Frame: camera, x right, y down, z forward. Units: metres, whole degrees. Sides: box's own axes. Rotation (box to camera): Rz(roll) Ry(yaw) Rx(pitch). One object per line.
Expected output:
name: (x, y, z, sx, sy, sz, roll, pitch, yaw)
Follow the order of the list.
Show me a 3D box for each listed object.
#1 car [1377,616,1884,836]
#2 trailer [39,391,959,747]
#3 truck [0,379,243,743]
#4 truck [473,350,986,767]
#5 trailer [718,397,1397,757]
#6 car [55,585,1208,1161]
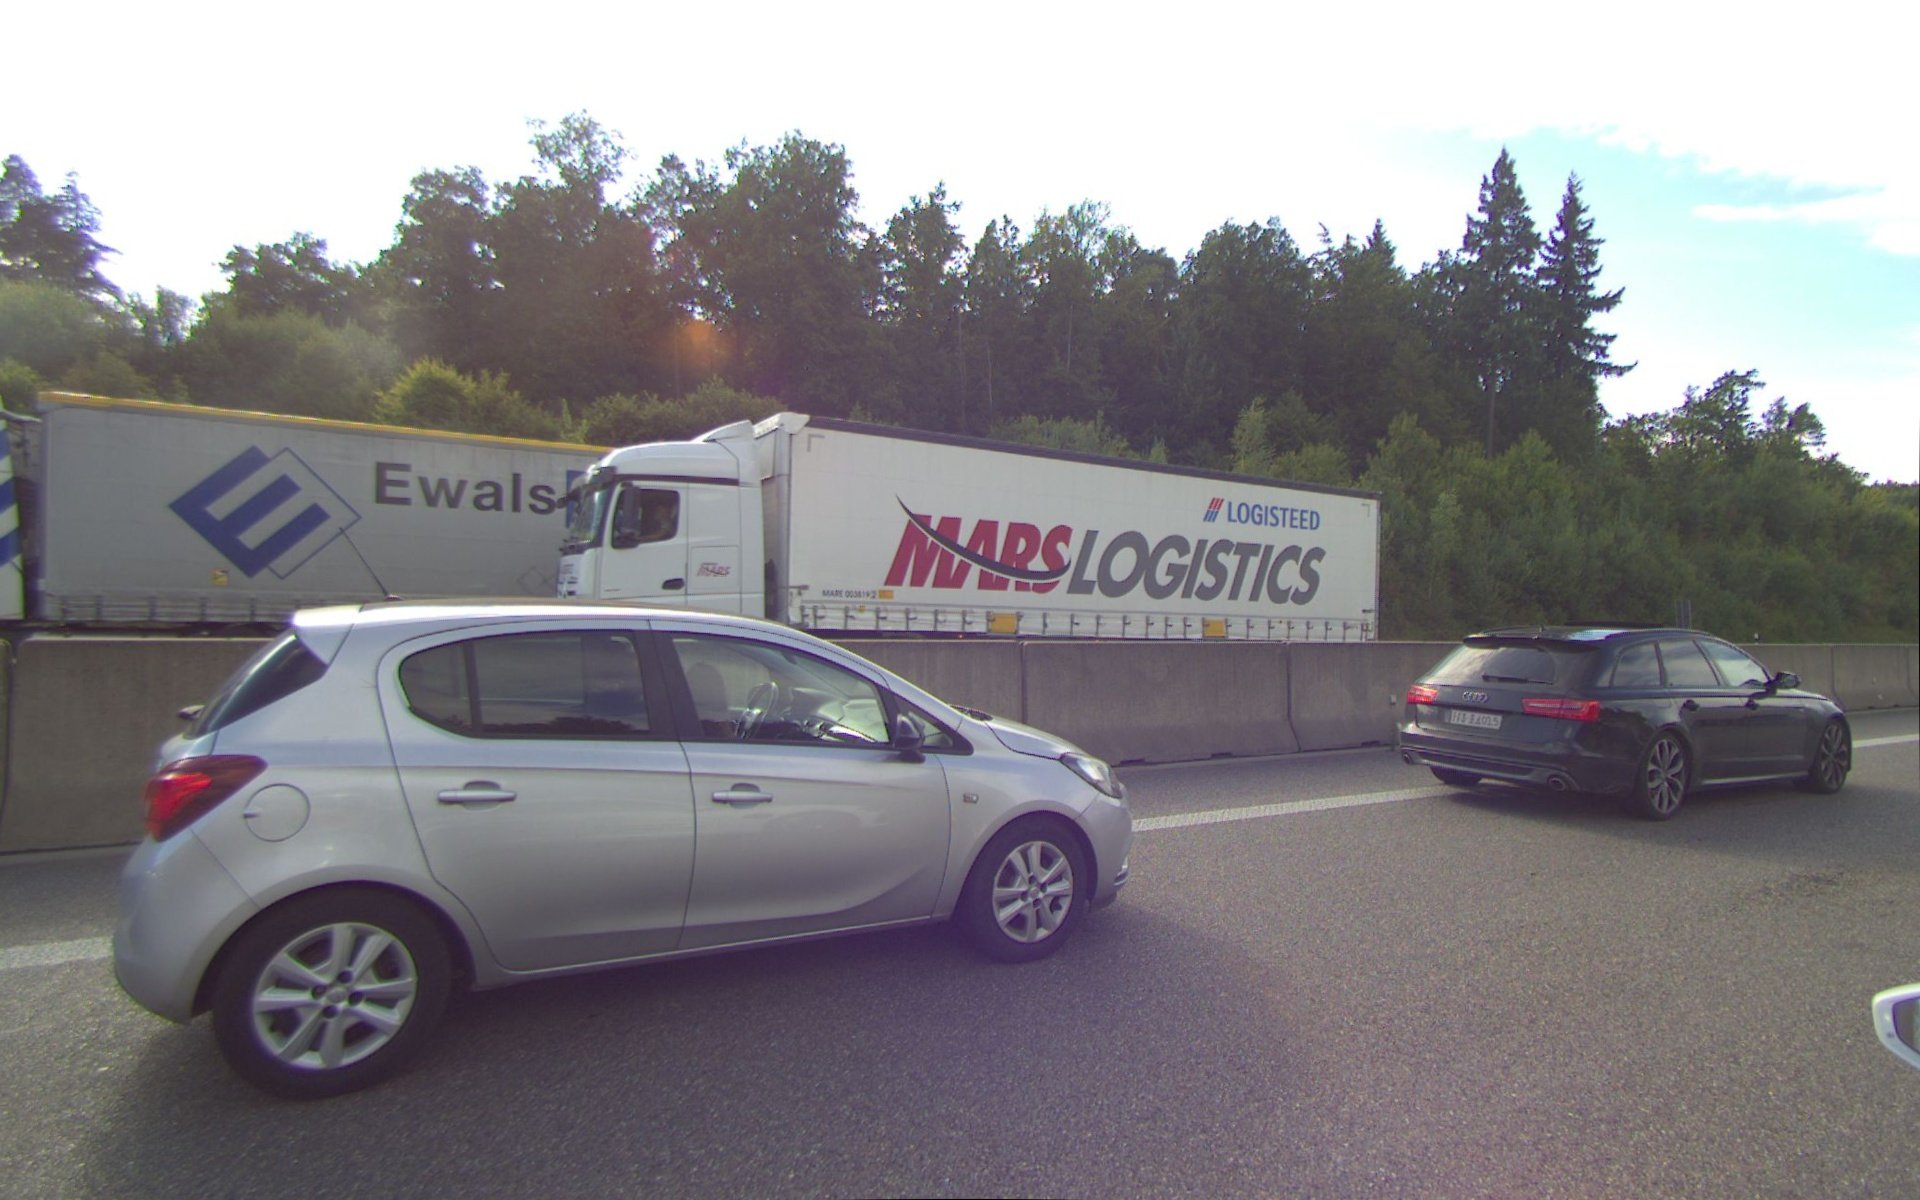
car: (6.052, 0.938, 8.928, 4.691, 1.475, 1.834, 1, 0, -30)
trailer: (-7.035, -0.210, 18.729, 14.483, 4.894, 2.913, 2, 0, -30)
truck: (-13.732, -0.535, 14.823, 4.710, 4.923, 2.918, 2, 0, -30)
truck: (-3.461, -0.421, 15.589, 7.058, 5.169, 3.073, 2, 0, -30)
trailer: (2.605, -0.127, 19.209, 13.675, 5.141, 3.073, 2, 0, -31)
car: (-1.017, 0.746, 4.356, 3.993, 1.485, 1.739, 1, -1, -30)
